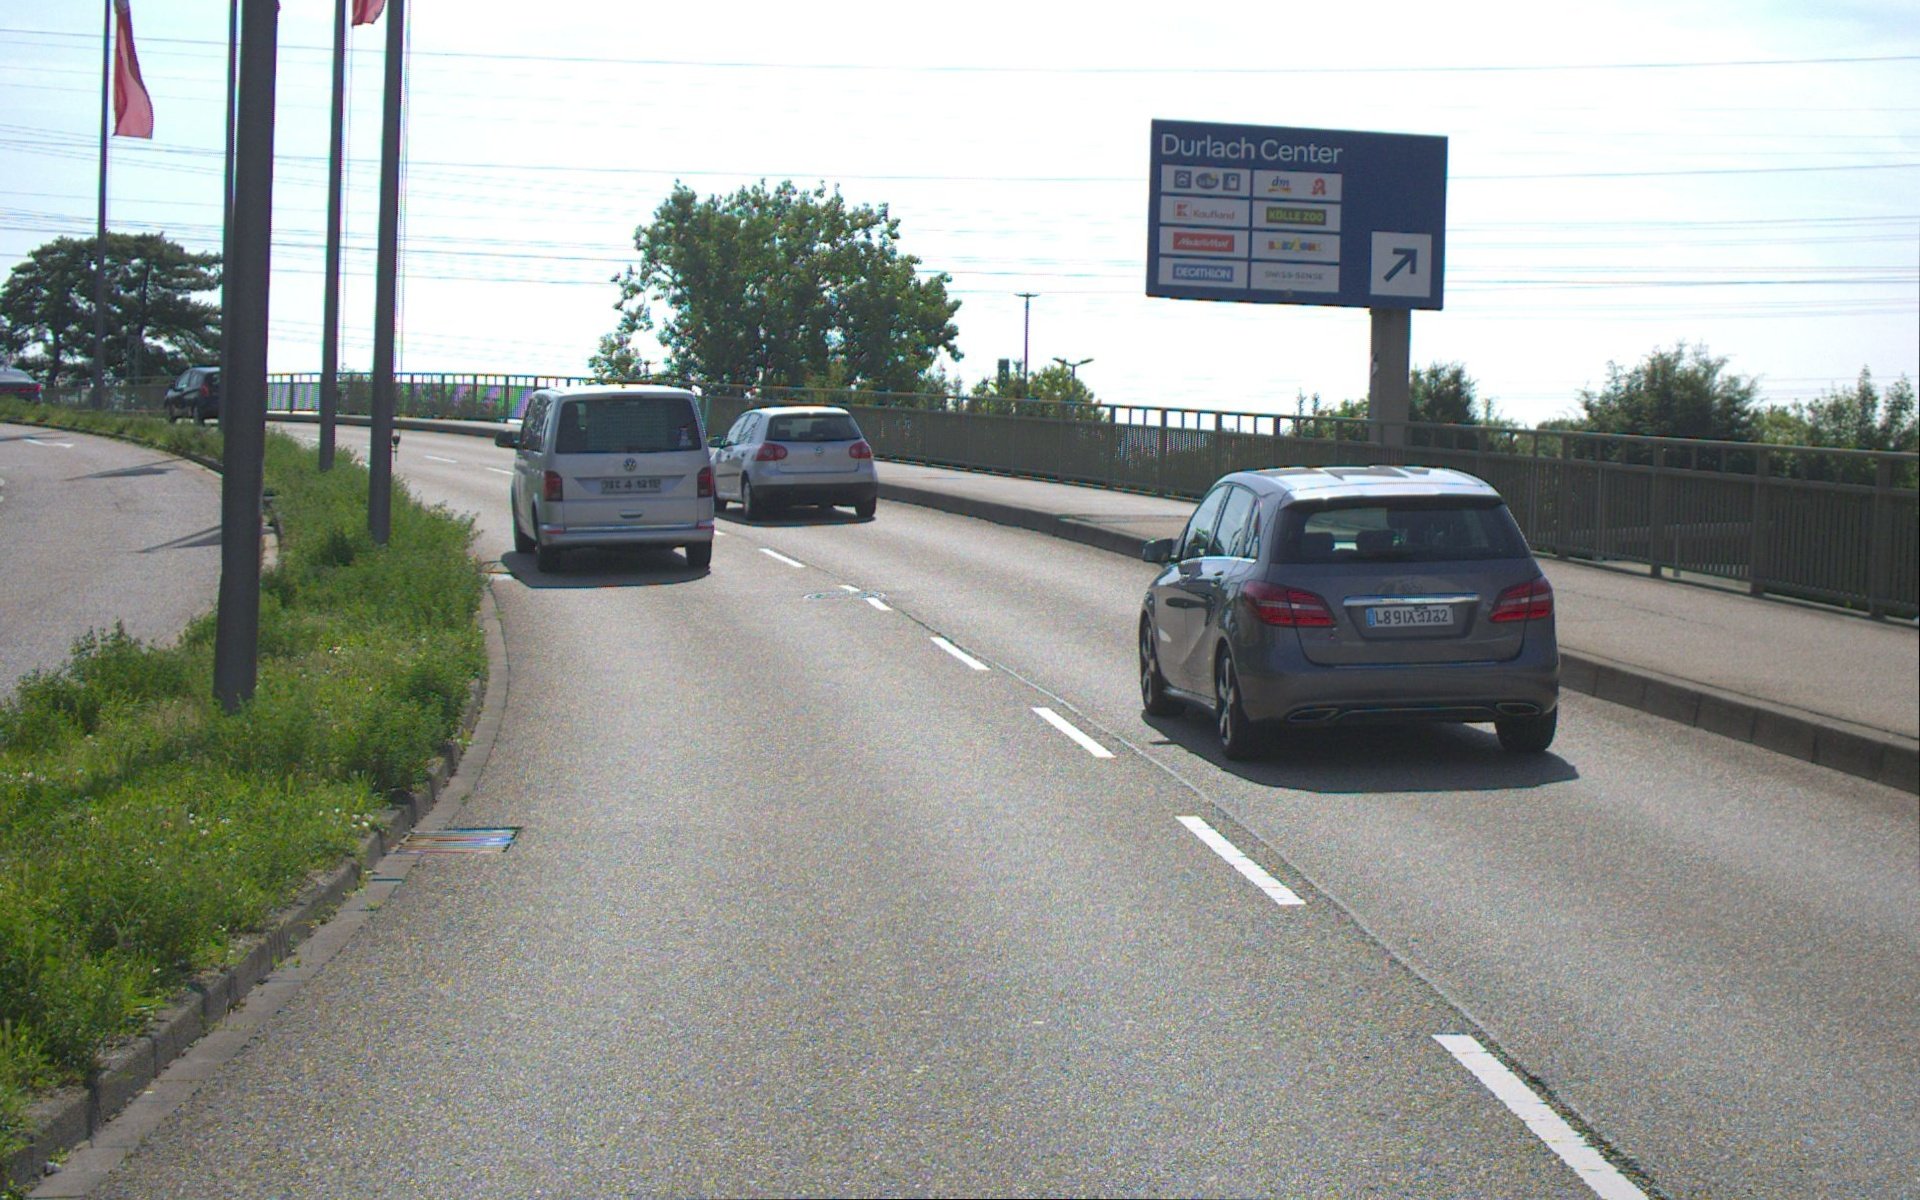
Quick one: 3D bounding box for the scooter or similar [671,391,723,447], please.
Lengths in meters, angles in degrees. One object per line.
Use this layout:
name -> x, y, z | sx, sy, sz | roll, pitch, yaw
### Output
scooter or similar -> -5.570, -3.836, 72.789 | 0.511, 1.138, 1.482 | 1, 4, -29

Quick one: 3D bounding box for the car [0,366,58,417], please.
car -> -27.099, -5.992, 98.688 | 1.773, 1.327, 3.742 | -3, 6, -23

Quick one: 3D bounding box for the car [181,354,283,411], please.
car -> -19.360, -5.758, 91.308 | 1.773, 1.327, 3.741 | -4, 3, -25

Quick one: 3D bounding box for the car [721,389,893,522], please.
car -> -2.112, -1.985, 46.328 | 1.856, 1.523, 4.146 | -3, 5, -8

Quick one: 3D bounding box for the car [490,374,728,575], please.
car -> -3.883, -1.429, 37.496 | 2.038, 2.006, 4.002 | -1, 5, -13

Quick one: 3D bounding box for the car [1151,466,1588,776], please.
car -> 2.207, 0.031, 19.630 | 1.856, 1.524, 4.145 | 1, 3, -2
